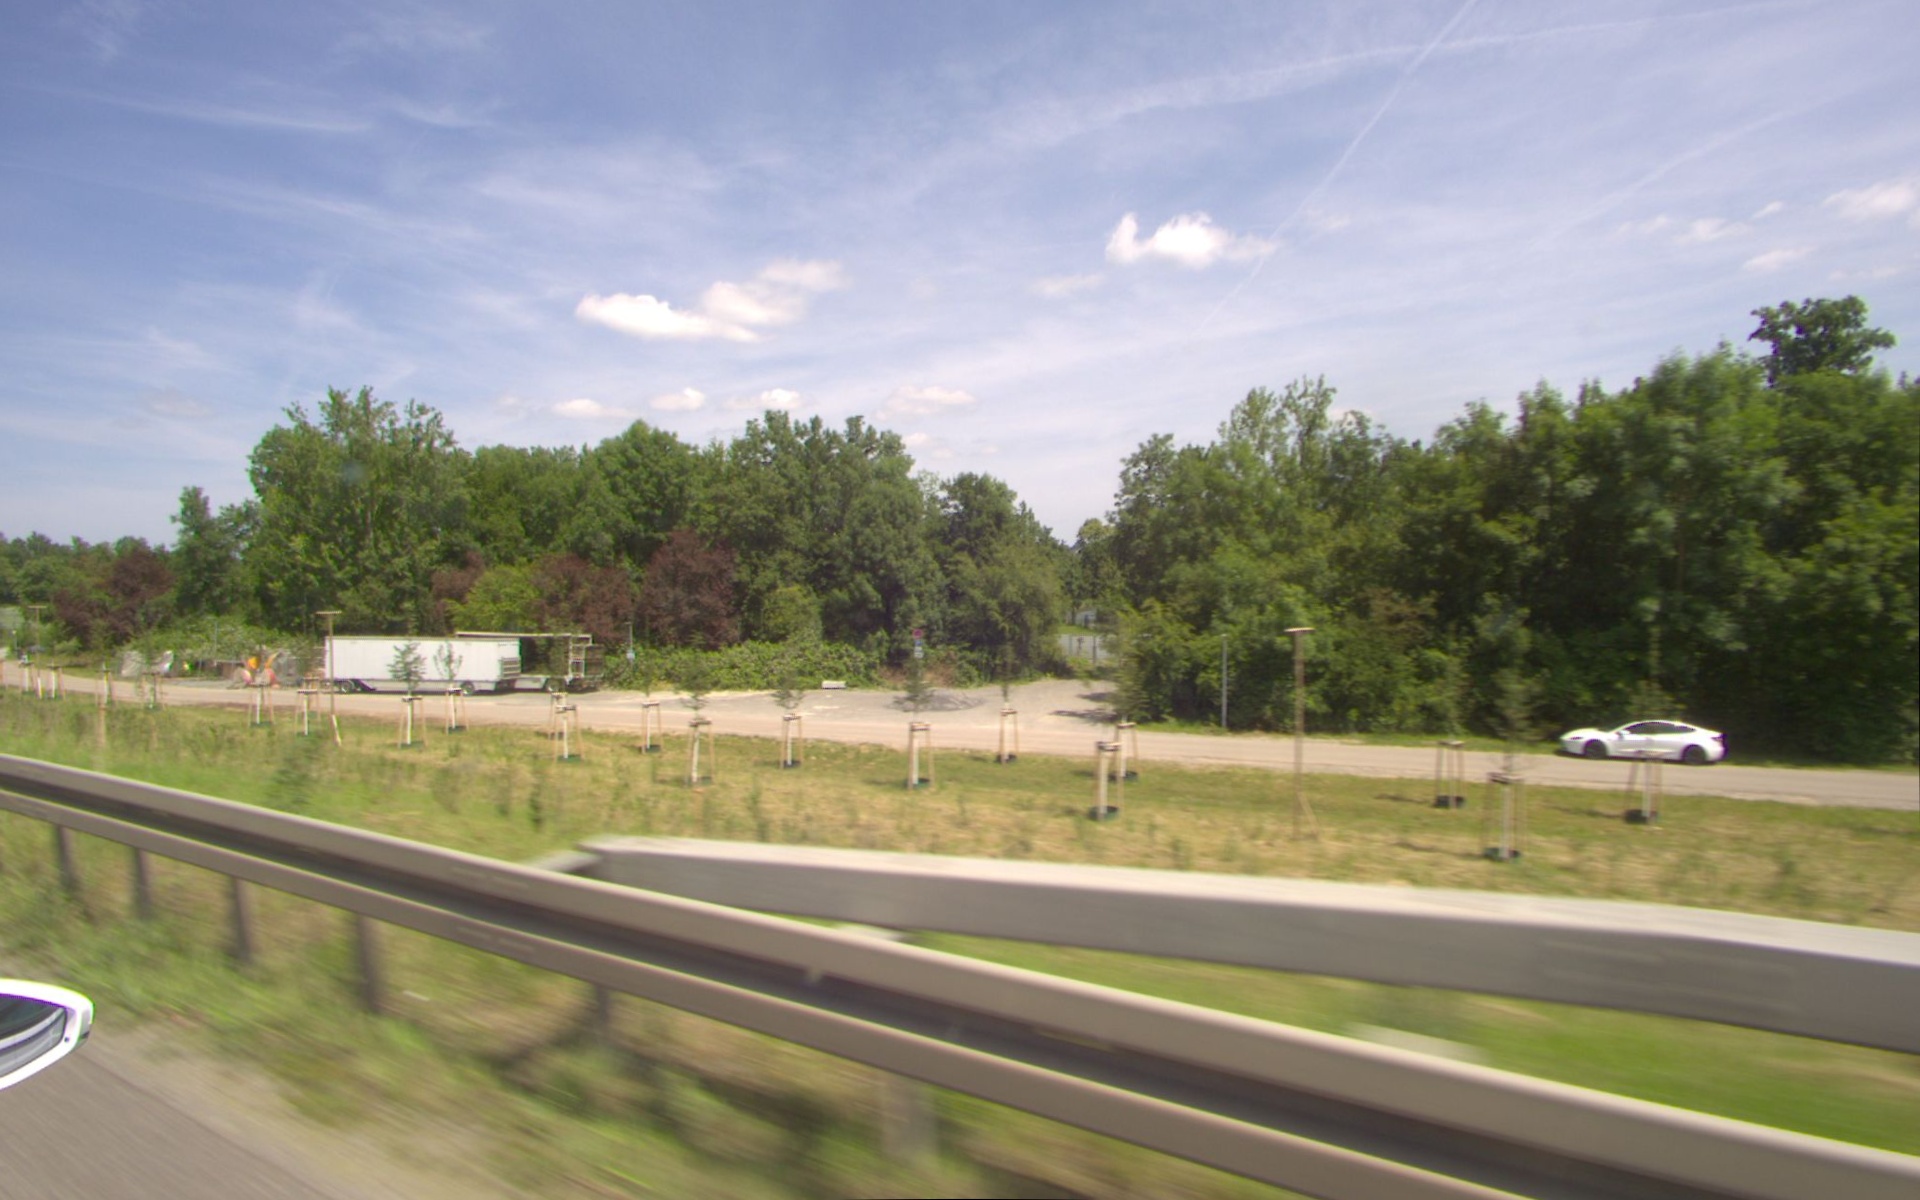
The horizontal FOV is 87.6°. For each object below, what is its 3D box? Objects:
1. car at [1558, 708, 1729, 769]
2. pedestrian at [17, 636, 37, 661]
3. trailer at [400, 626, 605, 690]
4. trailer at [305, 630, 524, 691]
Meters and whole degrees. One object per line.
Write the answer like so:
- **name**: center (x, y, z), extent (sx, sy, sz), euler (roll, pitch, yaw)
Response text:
- **car**: center (23.402, 4.722, 34.513), extent (4.530, 1.504, 1.857), euler (0, 3, 24)
- **pedestrian**: center (-73.488, 3.814, 78.836), extent (0.946, 1.836, 0.882), euler (1, 3, 33)
- **trailer**: center (-28.101, 3.505, 61.624), extent (11.664, 3.653, 2.728), euler (1, -1, 6)
- **trailer**: center (-31.981, 3.498, 58.907), extent (11.663, 3.371, 2.728), euler (0, 0, 4)
